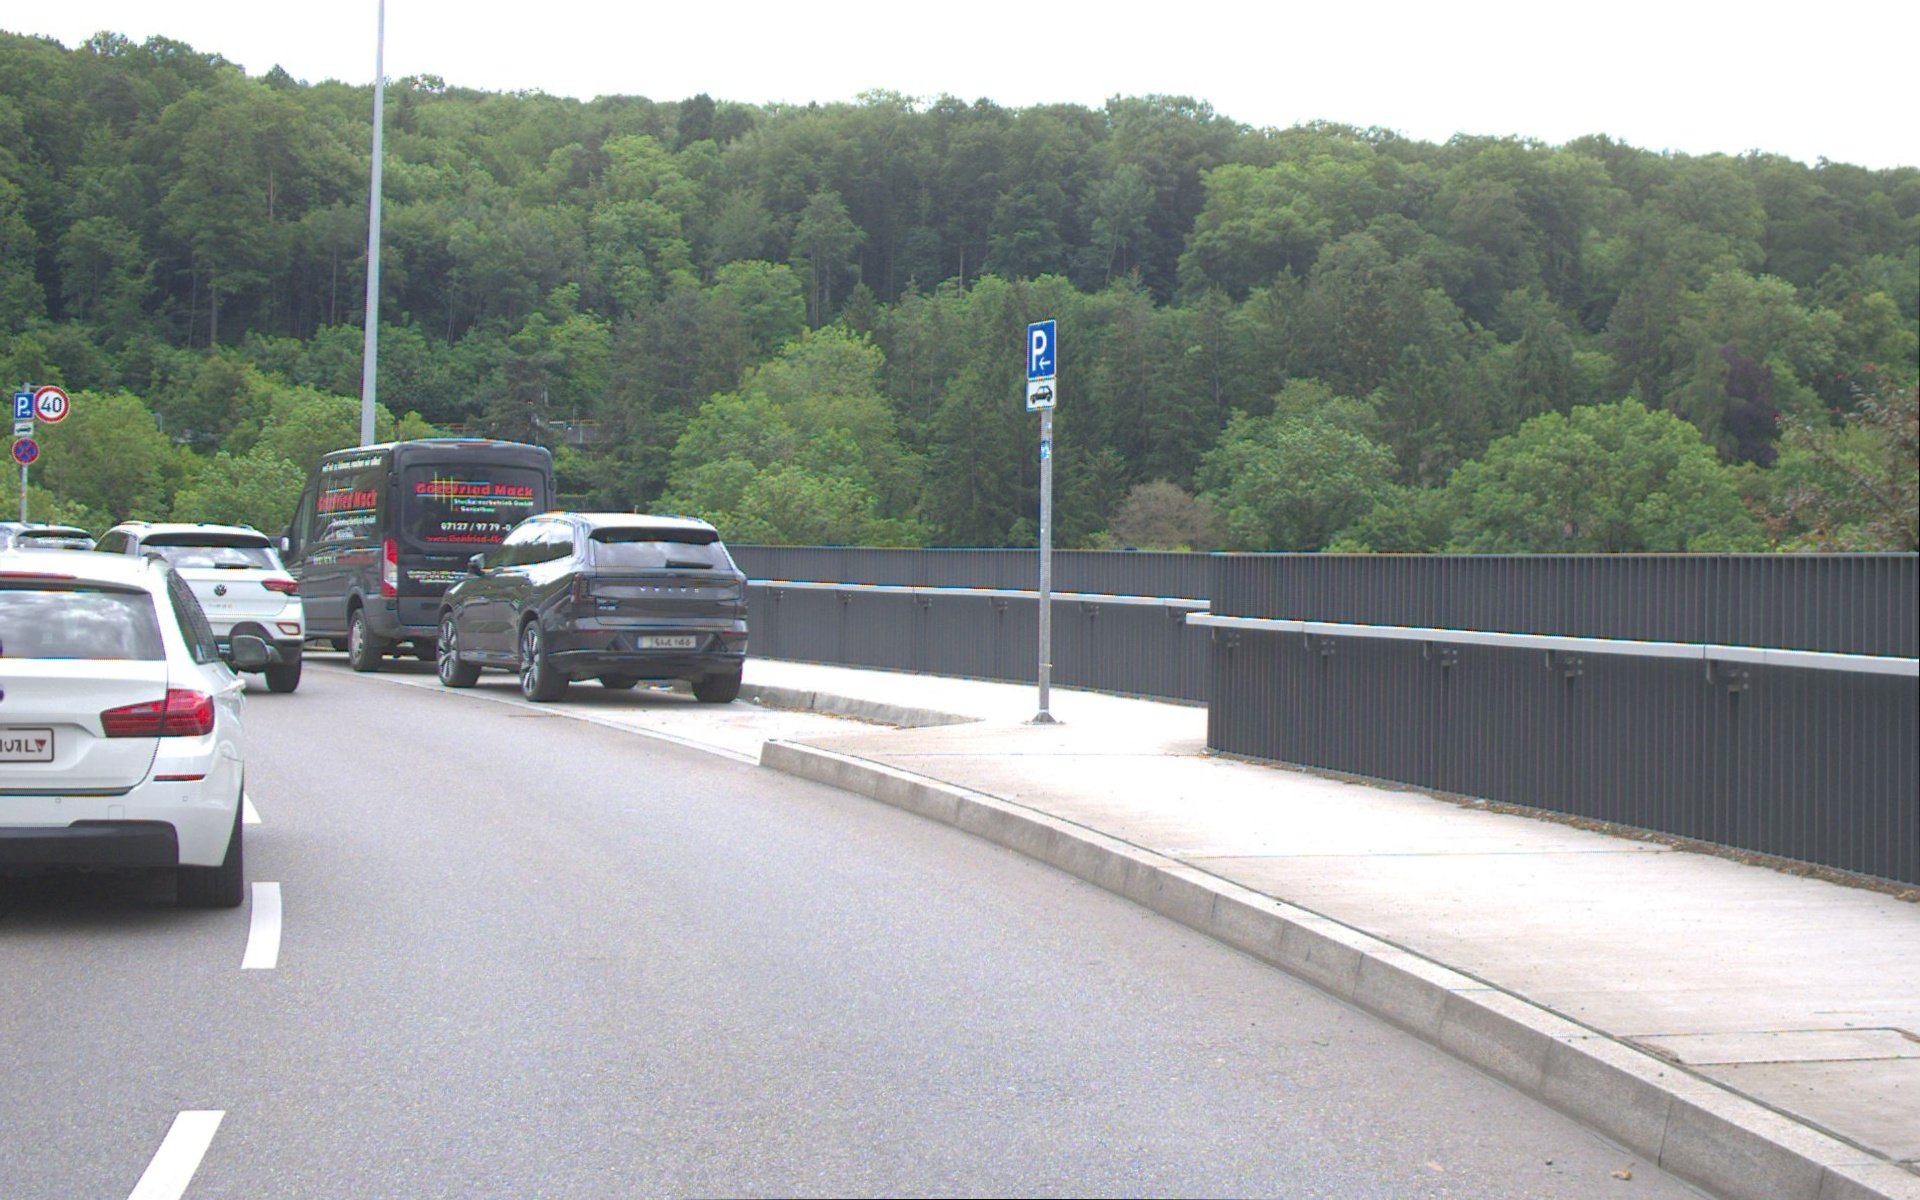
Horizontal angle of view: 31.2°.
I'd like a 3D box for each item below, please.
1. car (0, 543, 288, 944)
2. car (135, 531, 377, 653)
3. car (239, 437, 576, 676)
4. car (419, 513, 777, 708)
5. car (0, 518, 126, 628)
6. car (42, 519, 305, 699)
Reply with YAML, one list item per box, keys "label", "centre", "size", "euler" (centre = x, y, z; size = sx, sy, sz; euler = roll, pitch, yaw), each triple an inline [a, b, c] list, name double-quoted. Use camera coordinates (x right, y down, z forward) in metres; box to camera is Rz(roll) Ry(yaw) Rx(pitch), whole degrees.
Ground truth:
- label: "car"
  centre: [-3.986, 0.503, 14.964]
  size: [1.827, 1.454, 4.487]
  euler: [-1, 1, -8]
- label: "car"
  centre: [-9.113, -0.124, 44.317]
  size: [1.714, 1.426, 3.850]
  euler: [1, 1, -33]
- label: "car"
  centre: [-6.396, -0.551, 39.161]
  size: [2.166, 2.513, 5.772]
  euler: [-1, 2, -26]
- label: "car"
  centre: [-3.570, 0.063, 32.942]
  size: [1.993, 1.712, 5.050]
  euler: [0, 1, -23]
- label: "car"
  centre: [-14.363, -0.441, 52.115]
  size: [1.875, 1.538, 4.089]
  euler: [3, 0, -36]
- label: "car"
  centre: [-7.590, 0.063, 32.931]
  size: [1.827, 1.600, 4.001]
  euler: [-1, 1, -22]
